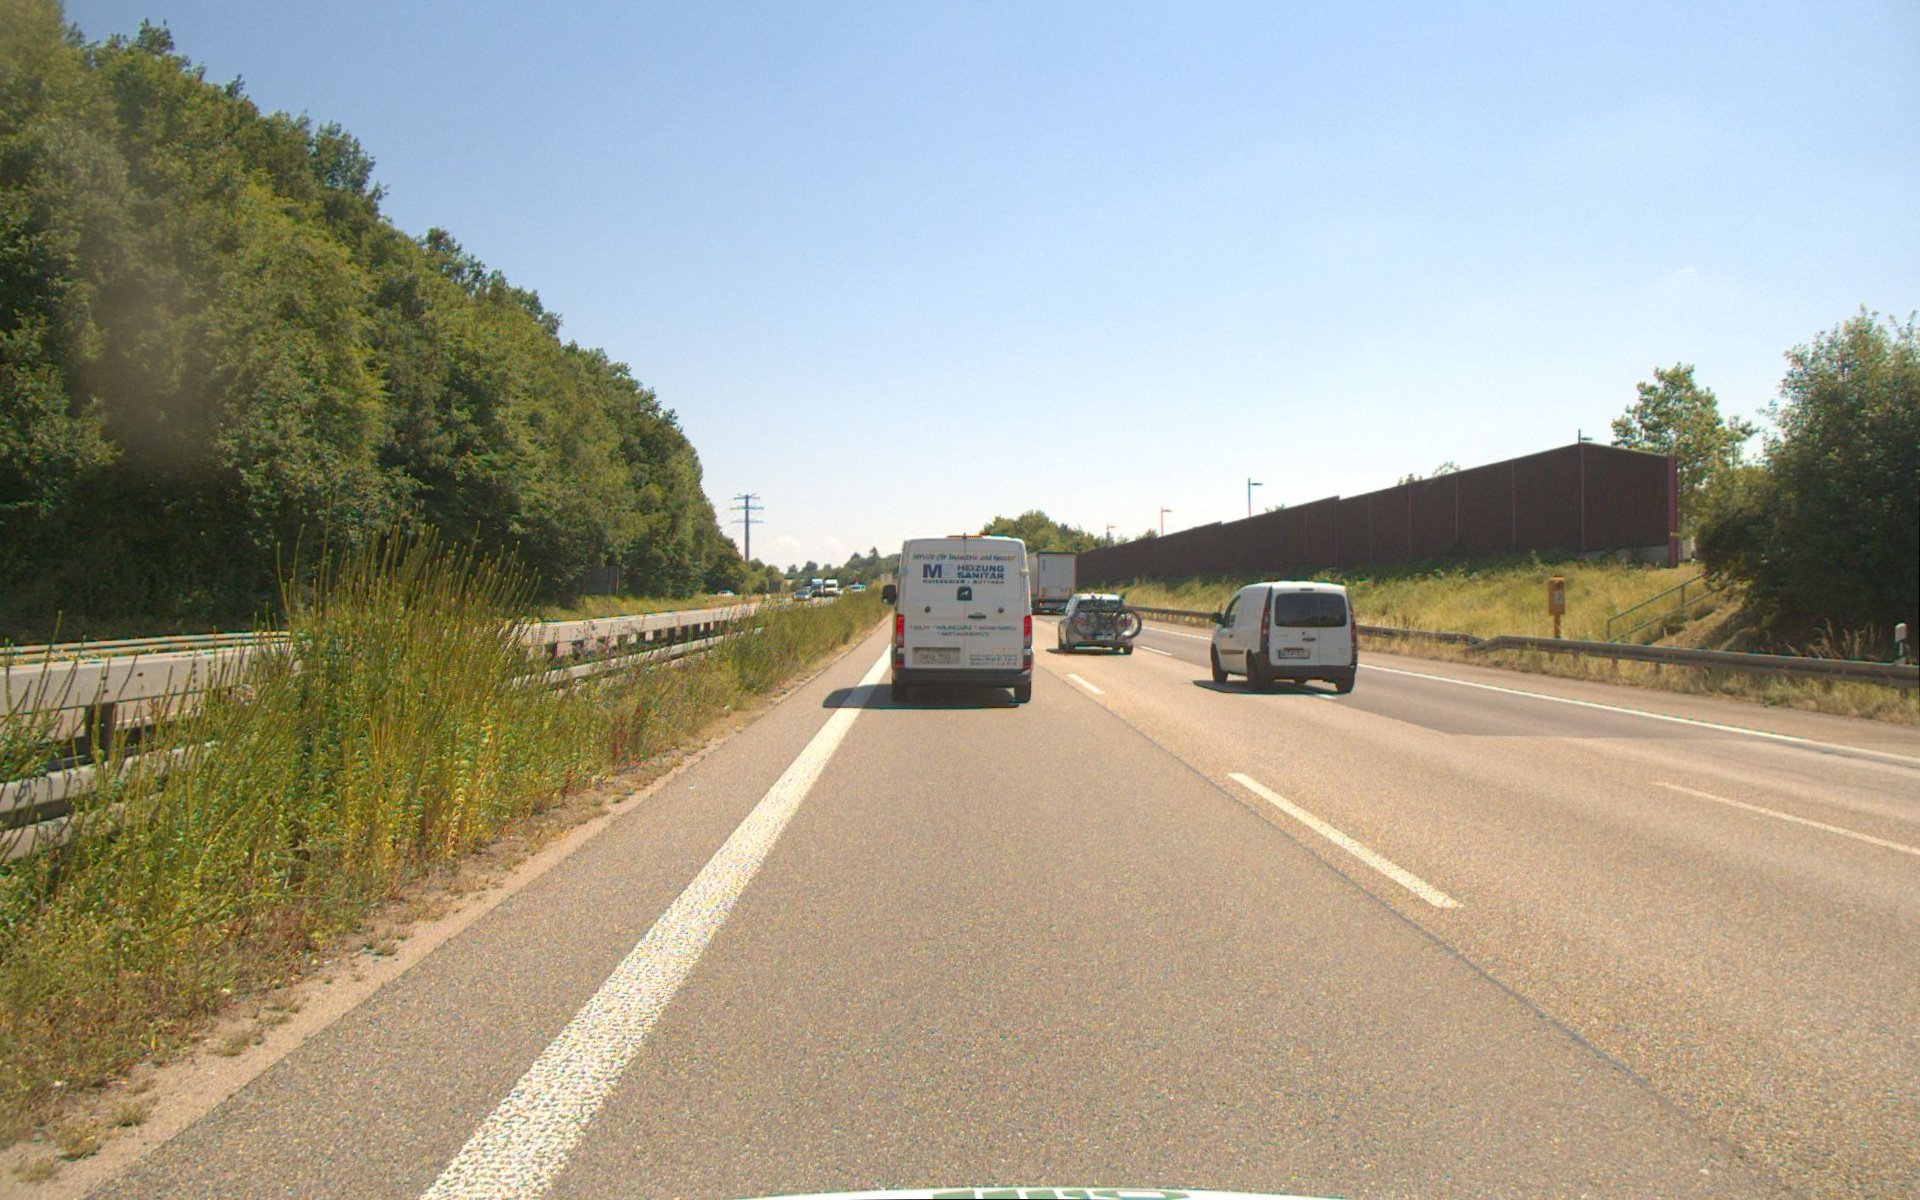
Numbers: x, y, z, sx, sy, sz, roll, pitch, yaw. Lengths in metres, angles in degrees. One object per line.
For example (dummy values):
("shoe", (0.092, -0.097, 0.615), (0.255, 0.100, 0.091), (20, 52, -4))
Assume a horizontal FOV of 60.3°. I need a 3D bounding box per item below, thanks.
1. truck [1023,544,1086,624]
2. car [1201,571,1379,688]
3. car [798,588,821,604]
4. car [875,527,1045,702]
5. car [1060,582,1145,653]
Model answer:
("truck", (6.391, -1.010, 113.894), (3.710, 5.087, 12.519), (1, 0, 1))
("car", (5.615, 0.487, 28.696), (1.912, 1.870, 4.173), (-1, 0, -5))
("car", (-15.417, -0.417, 169.146), (1.953, 1.545, 4.721), (-2, 0, -1))
("car", (-0.134, 0.207, 24.587), (2.139, 2.293, 5.358), (1, 0, -4))
("car", (3.713, 0.449, 43.774), (1.935, 1.763, 4.089), (-1, 0, 1))
